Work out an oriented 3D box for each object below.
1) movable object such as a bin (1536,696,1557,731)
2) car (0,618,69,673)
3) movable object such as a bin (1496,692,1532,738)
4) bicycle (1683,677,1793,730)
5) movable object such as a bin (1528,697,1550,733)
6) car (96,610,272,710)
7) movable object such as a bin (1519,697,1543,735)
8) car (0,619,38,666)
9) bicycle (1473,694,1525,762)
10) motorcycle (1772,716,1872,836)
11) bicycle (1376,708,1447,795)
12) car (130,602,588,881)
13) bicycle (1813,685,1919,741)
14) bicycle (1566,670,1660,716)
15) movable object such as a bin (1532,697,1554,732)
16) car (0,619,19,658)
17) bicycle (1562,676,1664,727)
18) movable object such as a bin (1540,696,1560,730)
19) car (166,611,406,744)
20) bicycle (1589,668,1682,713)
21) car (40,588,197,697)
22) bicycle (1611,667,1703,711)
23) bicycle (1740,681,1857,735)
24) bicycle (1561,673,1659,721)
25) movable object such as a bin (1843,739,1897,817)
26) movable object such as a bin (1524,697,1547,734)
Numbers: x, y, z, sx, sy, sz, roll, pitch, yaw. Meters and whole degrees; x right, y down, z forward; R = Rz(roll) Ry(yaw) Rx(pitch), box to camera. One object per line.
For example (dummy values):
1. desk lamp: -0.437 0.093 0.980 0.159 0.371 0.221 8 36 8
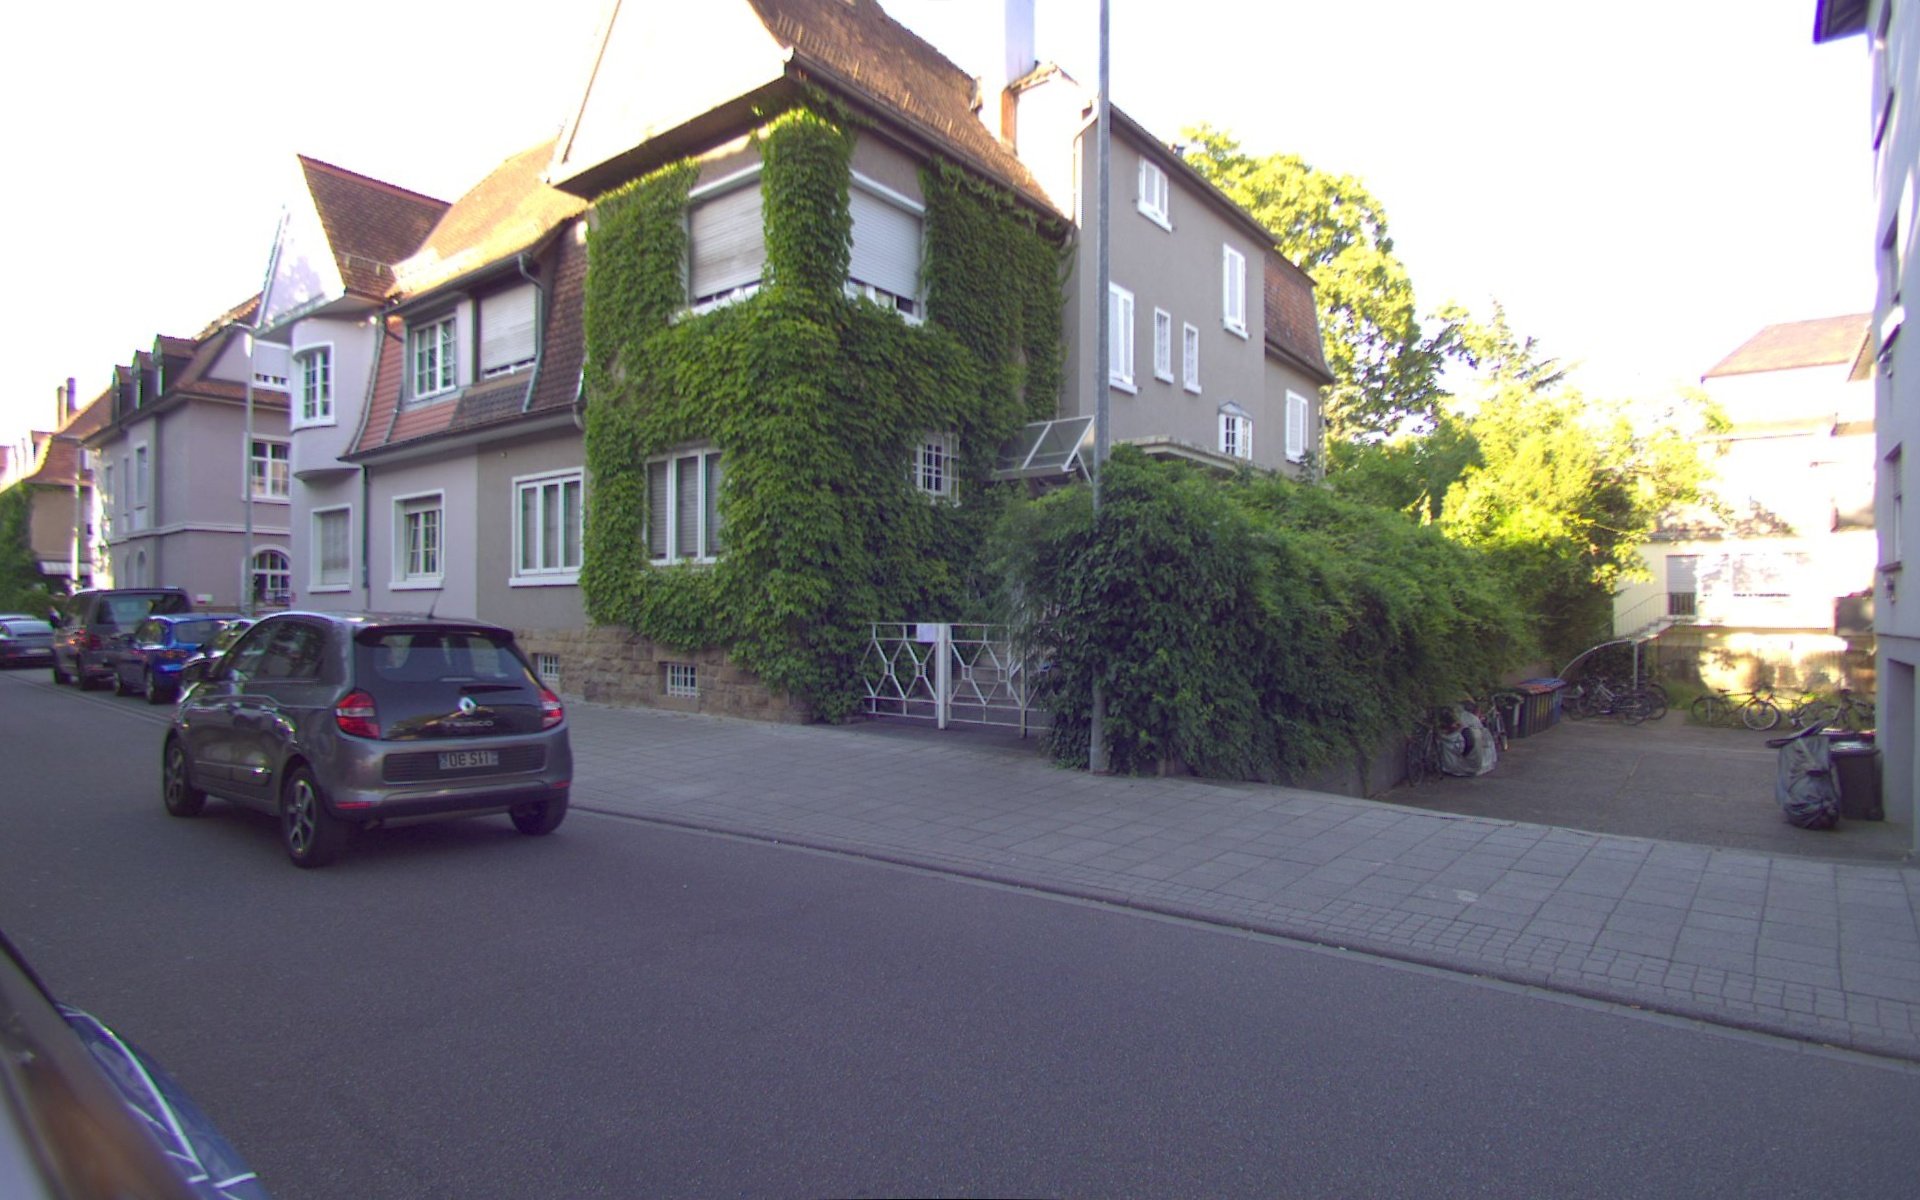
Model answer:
1. movable object such as a bin: 13.539 2.613 23.352 0.367 0.764 0.359 -1 -4 41
2. car: -26.454 1.230 28.279 4.331 1.381 1.698 -1 1 40
3. movable object such as a bin: 11.546 2.386 21.093 0.576 0.886 0.488 0 -3 41
4. bicycle: 18.719 2.480 24.390 2.068 1.028 0.634 1 3 41
5. movable object such as a bin: 13.036 2.580 22.774 0.375 0.764 0.359 -1 -4 41
6. car: -13.714 0.967 17.813 4.021 1.475 1.591 0 2 40
7. movable object such as a bin: 12.503 2.534 22.157 0.398 0.779 0.359 -1 -4 41
8. car: -30.383 1.332 31.836 3.942 1.381 1.522 -1 1 40
9. bicycle: 9.960 2.325 18.669 0.514 1.027 1.914 1 0 38
10. motorcycle: 10.713 2.143 12.630 0.757 1.261 1.575 -1 -3 34
11. bicycle: 6.779 2.227 15.152 0.514 1.027 1.914 1 0 38
12. car: -4.416 0.825 7.273 3.587 1.513 1.600 -1 -3 38
13. bicycle: 20.554 2.524 22.762 2.068 1.028 0.634 1 3 41
14. bicycle: 17.702 2.492 27.469 2.068 1.028 0.608 1 3 41
15. movable object such as a bin: 13.287 2.598 23.055 0.367 0.764 0.359 -1 -4 41
16. car: -36.476 1.447 37.634 3.942 1.381 1.698 -1 1 40
17. bicycle: 16.277 2.512 25.255 2.068 1.028 0.634 1 3 41
18. movable object such as a bin: 13.790 2.644 23.660 0.346 0.764 0.359 -1 -4 41
19. car: -9.248 0.927 13.774 4.023 1.439 1.729 0 2 42
20. bicycle: 18.619 2.480 27.935 2.068 1.028 0.608 1 3 41
21. car: -17.487 0.797 20.966 4.308 1.987 1.698 0 2 40
22. bicycle: 19.421 2.469 28.240 2.068 1.028 0.561 1 3 41
23. bicycle: 19.555 2.500 23.649 2.068 1.028 0.634 1 3 41
24. bicycle: 16.841 2.504 26.267 2.068 1.028 0.565 1 3 41
25. movable object such as a bin: 11.764 2.289 13.095 0.432 0.894 0.717 -1 -3 37
26. movable object such as a bin: 12.773 2.554 22.460 0.381 0.779 0.359 -1 -4 41
